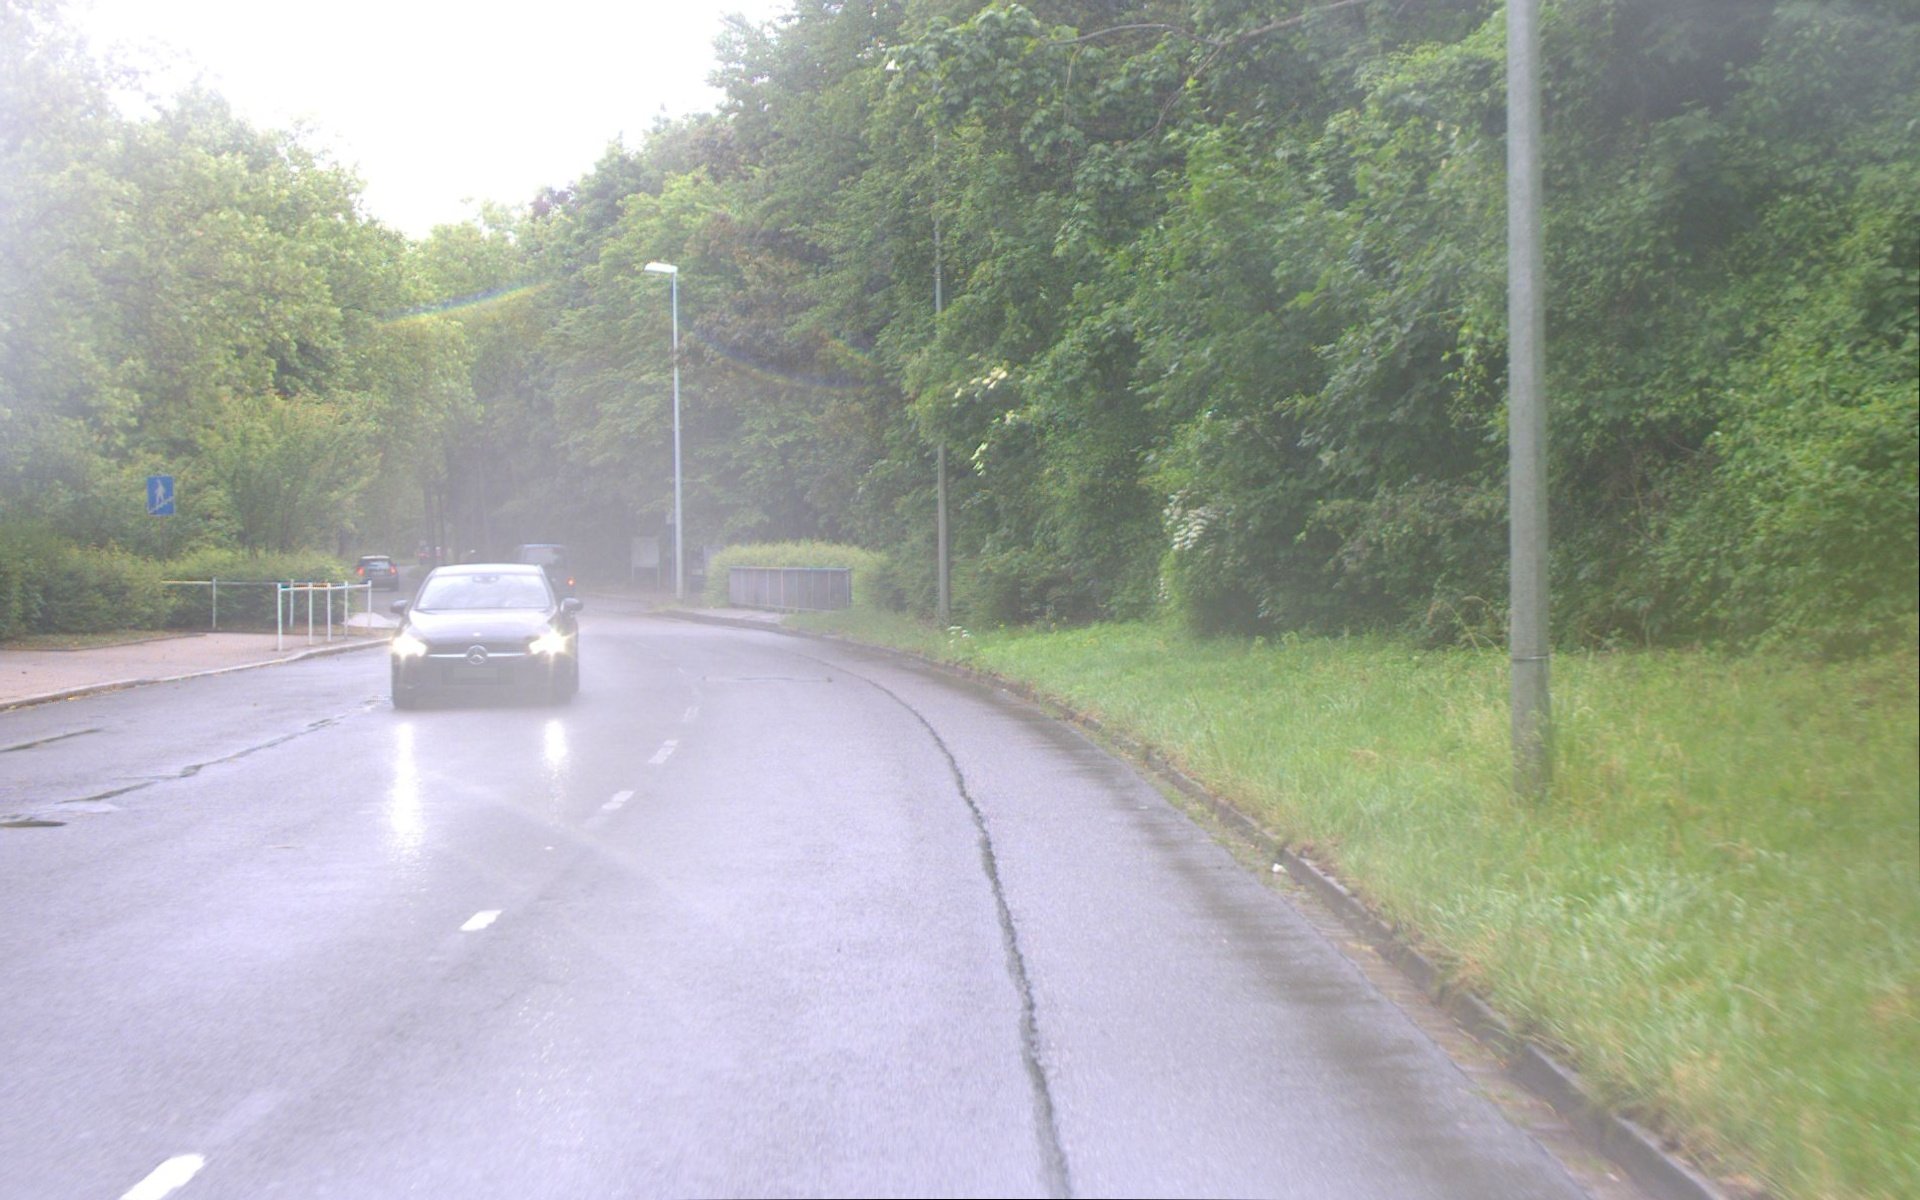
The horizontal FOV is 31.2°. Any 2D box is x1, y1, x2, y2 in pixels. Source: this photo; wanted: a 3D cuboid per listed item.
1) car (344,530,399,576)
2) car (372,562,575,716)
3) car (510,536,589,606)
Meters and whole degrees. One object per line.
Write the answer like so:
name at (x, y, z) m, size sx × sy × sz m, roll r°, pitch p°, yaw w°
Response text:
car at (-23.917, -1.911, 139.562) m, size 1.993 × 1.809 × 4.001 m, roll 1°, pitch 0°, yaw -12°
car at (-4.988, 0.363, 35.685) m, size 1.826 × 1.460 × 4.001 m, roll -2°, pitch 1°, yaw -5°
car at (-11.518, -0.827, 96.232) m, size 1.985 × 1.919 × 4.001 m, roll 0°, pitch 1°, yaw -10°
